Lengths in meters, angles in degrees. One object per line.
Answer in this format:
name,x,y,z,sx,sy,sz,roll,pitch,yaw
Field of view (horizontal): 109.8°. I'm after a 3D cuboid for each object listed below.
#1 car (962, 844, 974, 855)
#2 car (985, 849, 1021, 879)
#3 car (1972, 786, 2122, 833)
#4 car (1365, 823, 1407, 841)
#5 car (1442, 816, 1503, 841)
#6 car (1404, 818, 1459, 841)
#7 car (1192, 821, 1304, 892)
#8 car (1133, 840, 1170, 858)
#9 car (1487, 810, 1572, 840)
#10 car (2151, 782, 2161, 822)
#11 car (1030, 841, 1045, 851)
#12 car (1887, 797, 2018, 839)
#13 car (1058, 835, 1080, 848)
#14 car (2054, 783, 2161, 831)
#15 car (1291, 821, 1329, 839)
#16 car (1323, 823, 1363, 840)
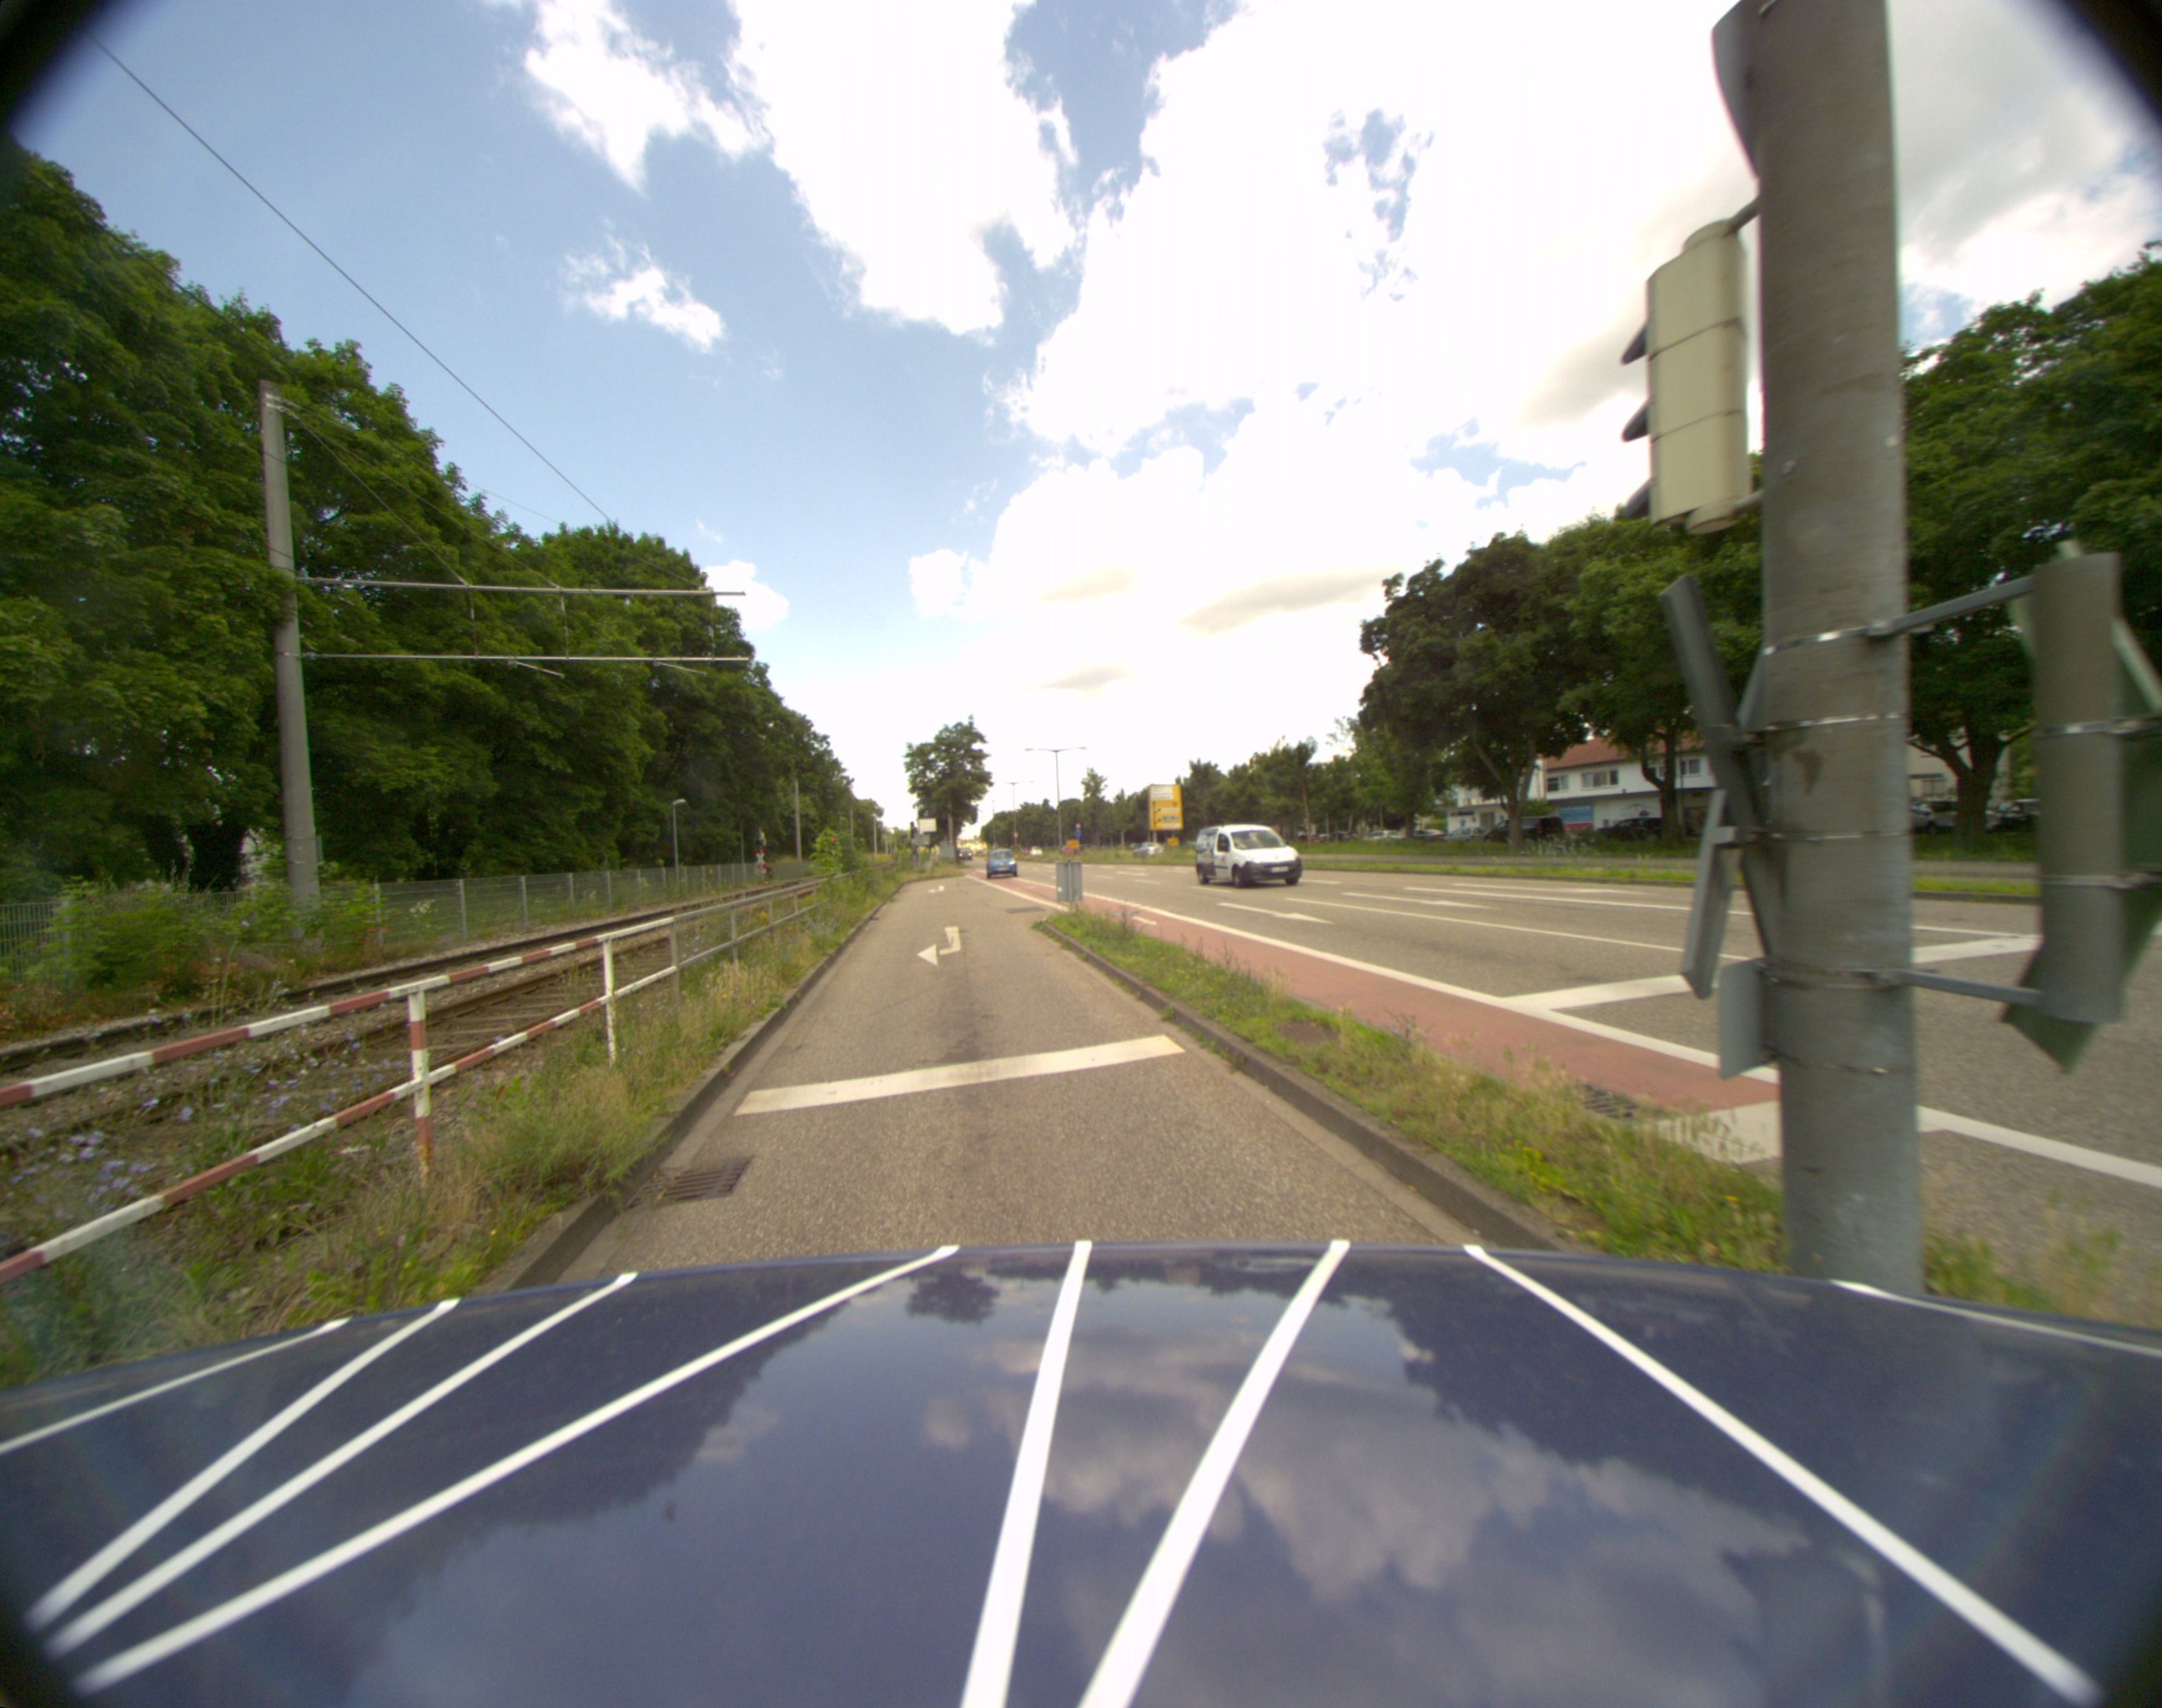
car,-18.224,-0.725,122.437,1.728,1.605,3.996,-3,1,-9
car,-4.160,0.493,40.154,1.605,1.456,3.699,-2,1,-10
car,36.870,-1.658,29.168,1.995,1.578,4.029,-2,1,26
car,25.247,-1.784,63.027,1.627,1.324,3.473,-3,1,-10
car,27.346,-1.790,53.180,1.923,1.578,3.662,-3,1,-10
car,26.431,-1.809,57.451,1.764,1.578,4.019,-3,1,-10
car,4.746,0.047,22.258,1.748,1.775,4.152,-4,1,-9
car,5.930,-0.441,64.418,1.806,1.424,4.491,-3,1,-12
car,28.119,-1.777,47.845,1.889,1.701,4.924,-3,1,-10
car,41.312,-1.952,27.068,1.995,1.536,4.029,-2,1,26
car,-6.762,-1.244,117.916,1.617,1.437,3.589,-4,2,-13
car,34.463,-1.409,30.204,1.995,1.475,4.029,-2,1,26
car,-1.565,-1.524,96.087,1.894,1.503,3.995,-4,2,-13
car,39.124,-1.736,28.266,1.995,1.578,4.030,-2,0,26
car,22.812,-2.351,75.852,2.000,1.578,4.019,-3,1,-10
car,23.944,-2.005,69.592,1.731,1.403,3.862,-3,1,-10
